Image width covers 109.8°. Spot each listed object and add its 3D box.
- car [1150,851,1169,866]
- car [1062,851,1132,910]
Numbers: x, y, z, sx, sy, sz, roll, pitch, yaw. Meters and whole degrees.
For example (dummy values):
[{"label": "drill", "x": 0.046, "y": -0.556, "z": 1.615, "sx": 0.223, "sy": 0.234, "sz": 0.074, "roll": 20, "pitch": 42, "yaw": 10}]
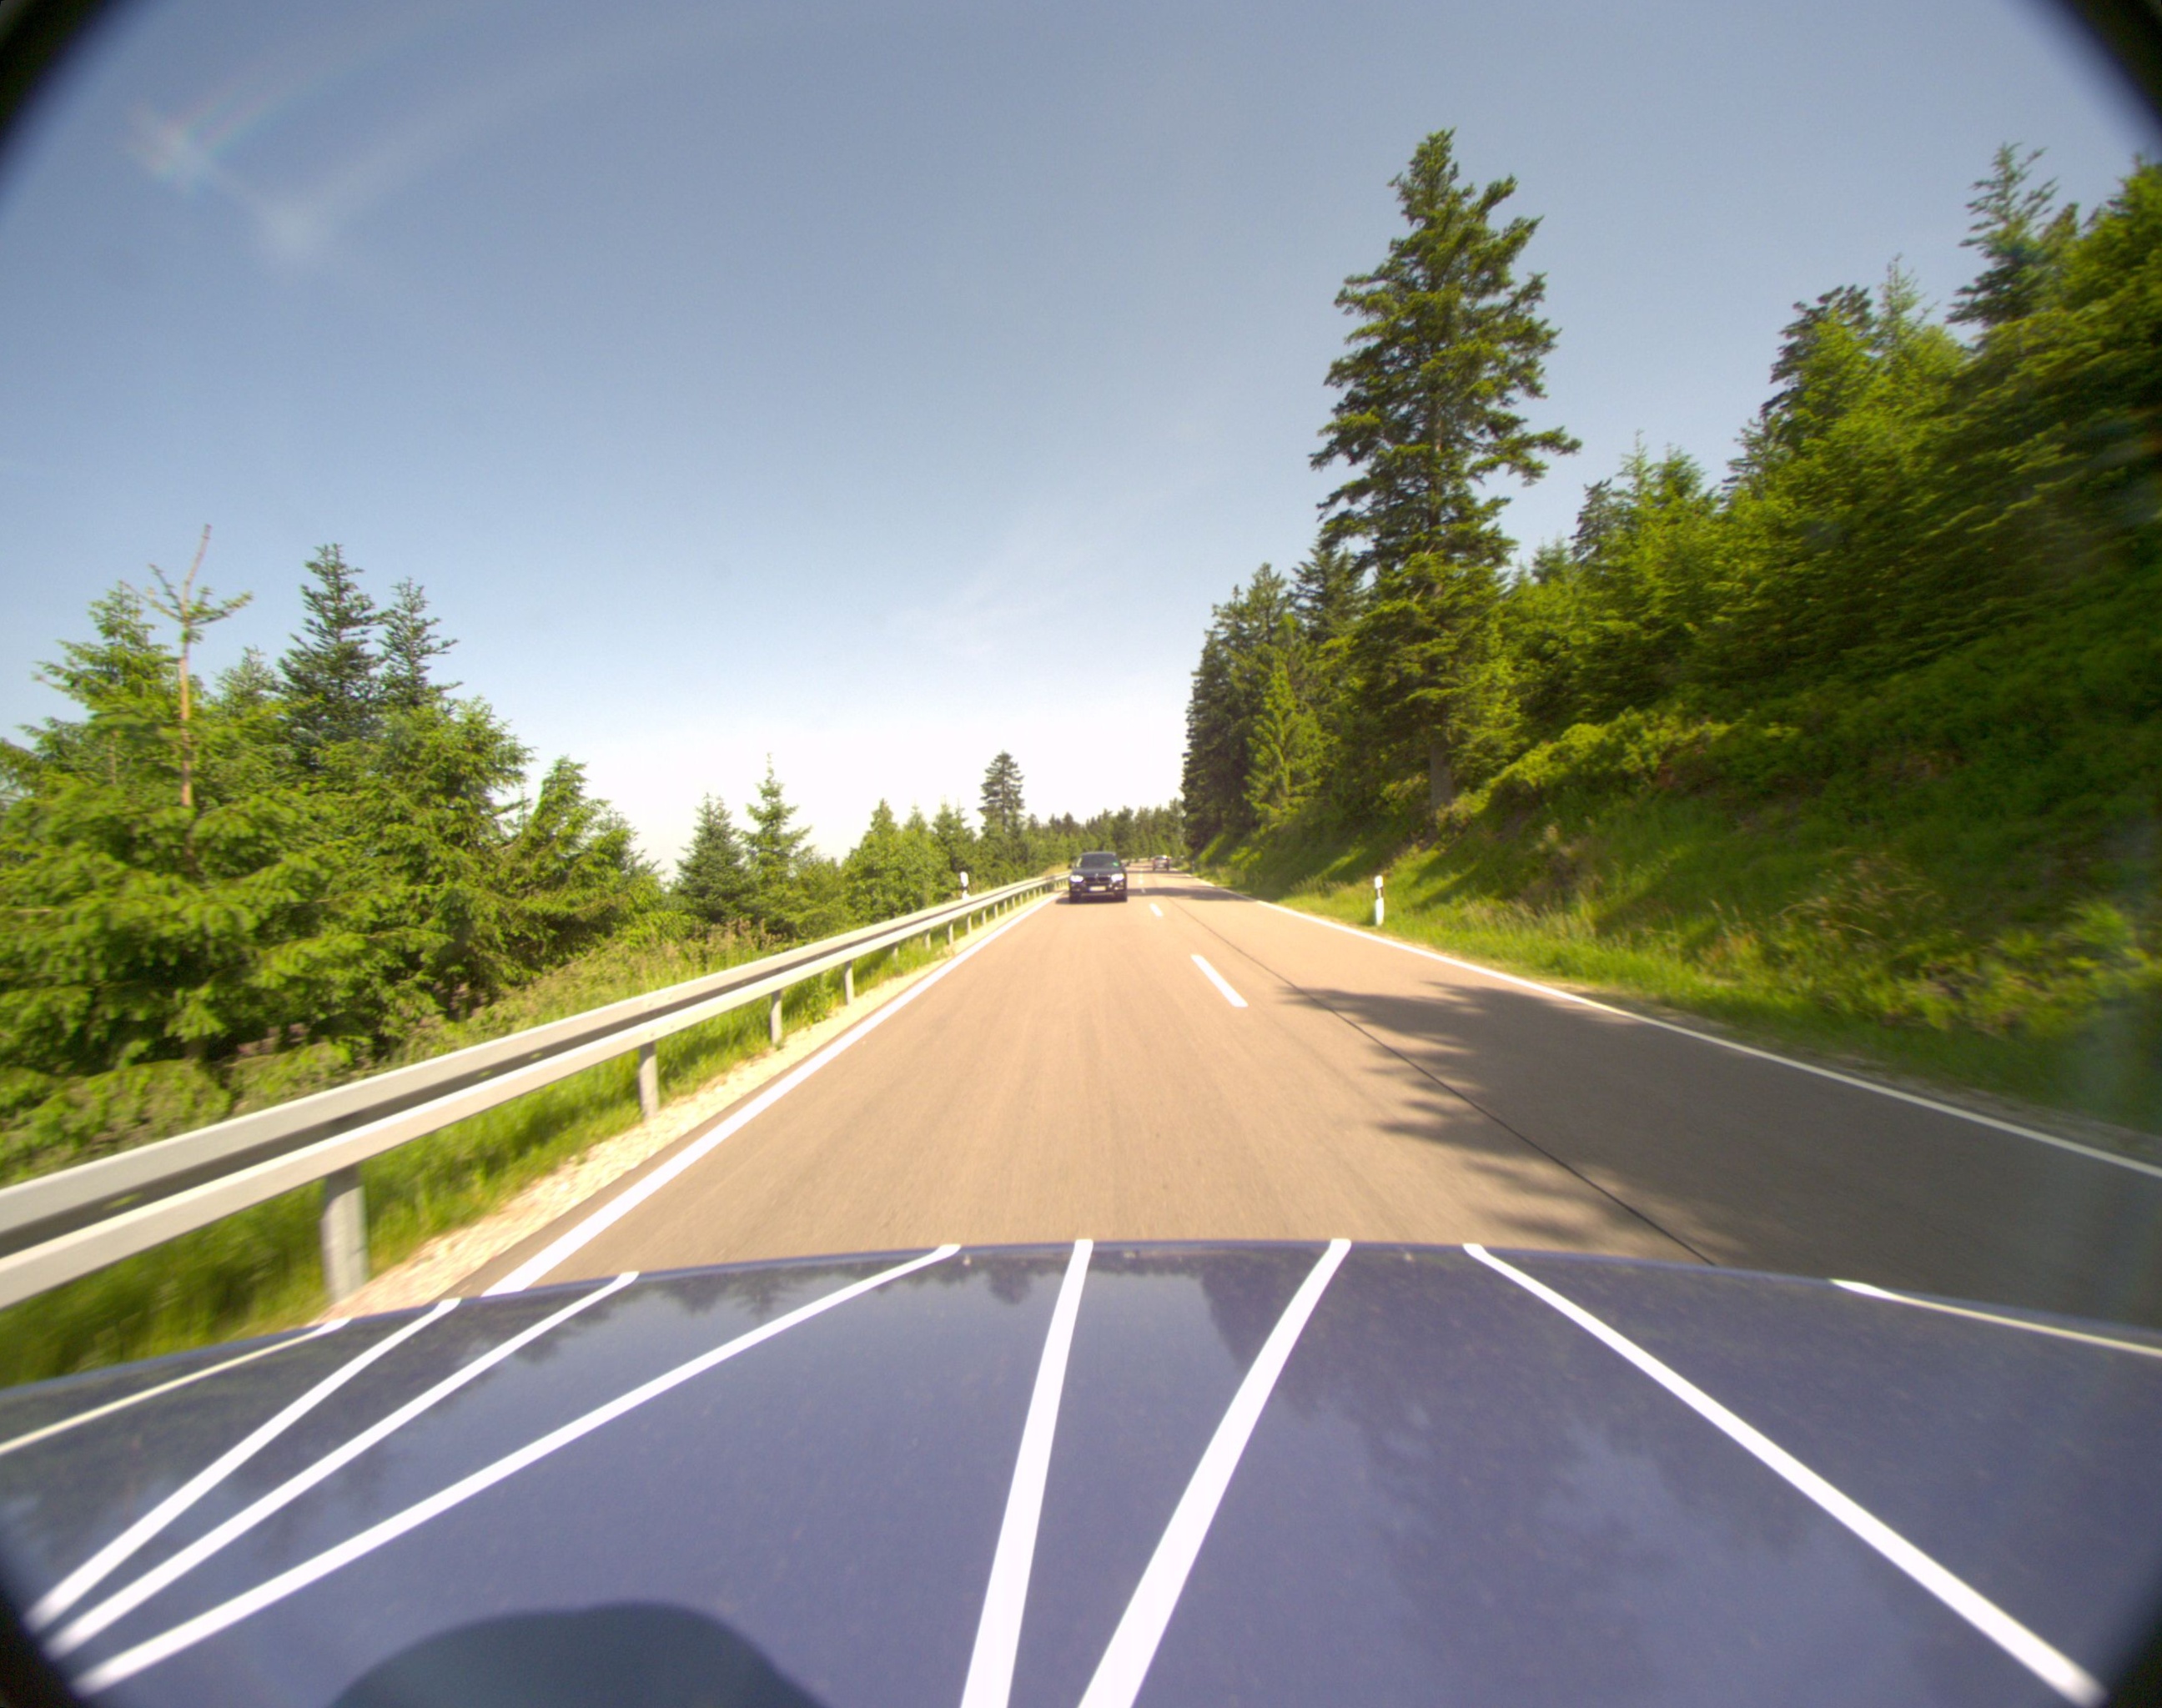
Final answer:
[{"label": "car", "x": 7.899, "y": 0.431, "z": 76.987, "sx": 1.688, "sy": 1.406, "sz": 3.263, "roll": 0, "pitch": 0, "yaw": 2}, {"label": "car", "x": 0.628, "y": 0.790, "z": 25.416, "sx": 1.998, "sy": 1.676, "sz": 5.937, "roll": -2, "pitch": 0, "yaw": 3}]
